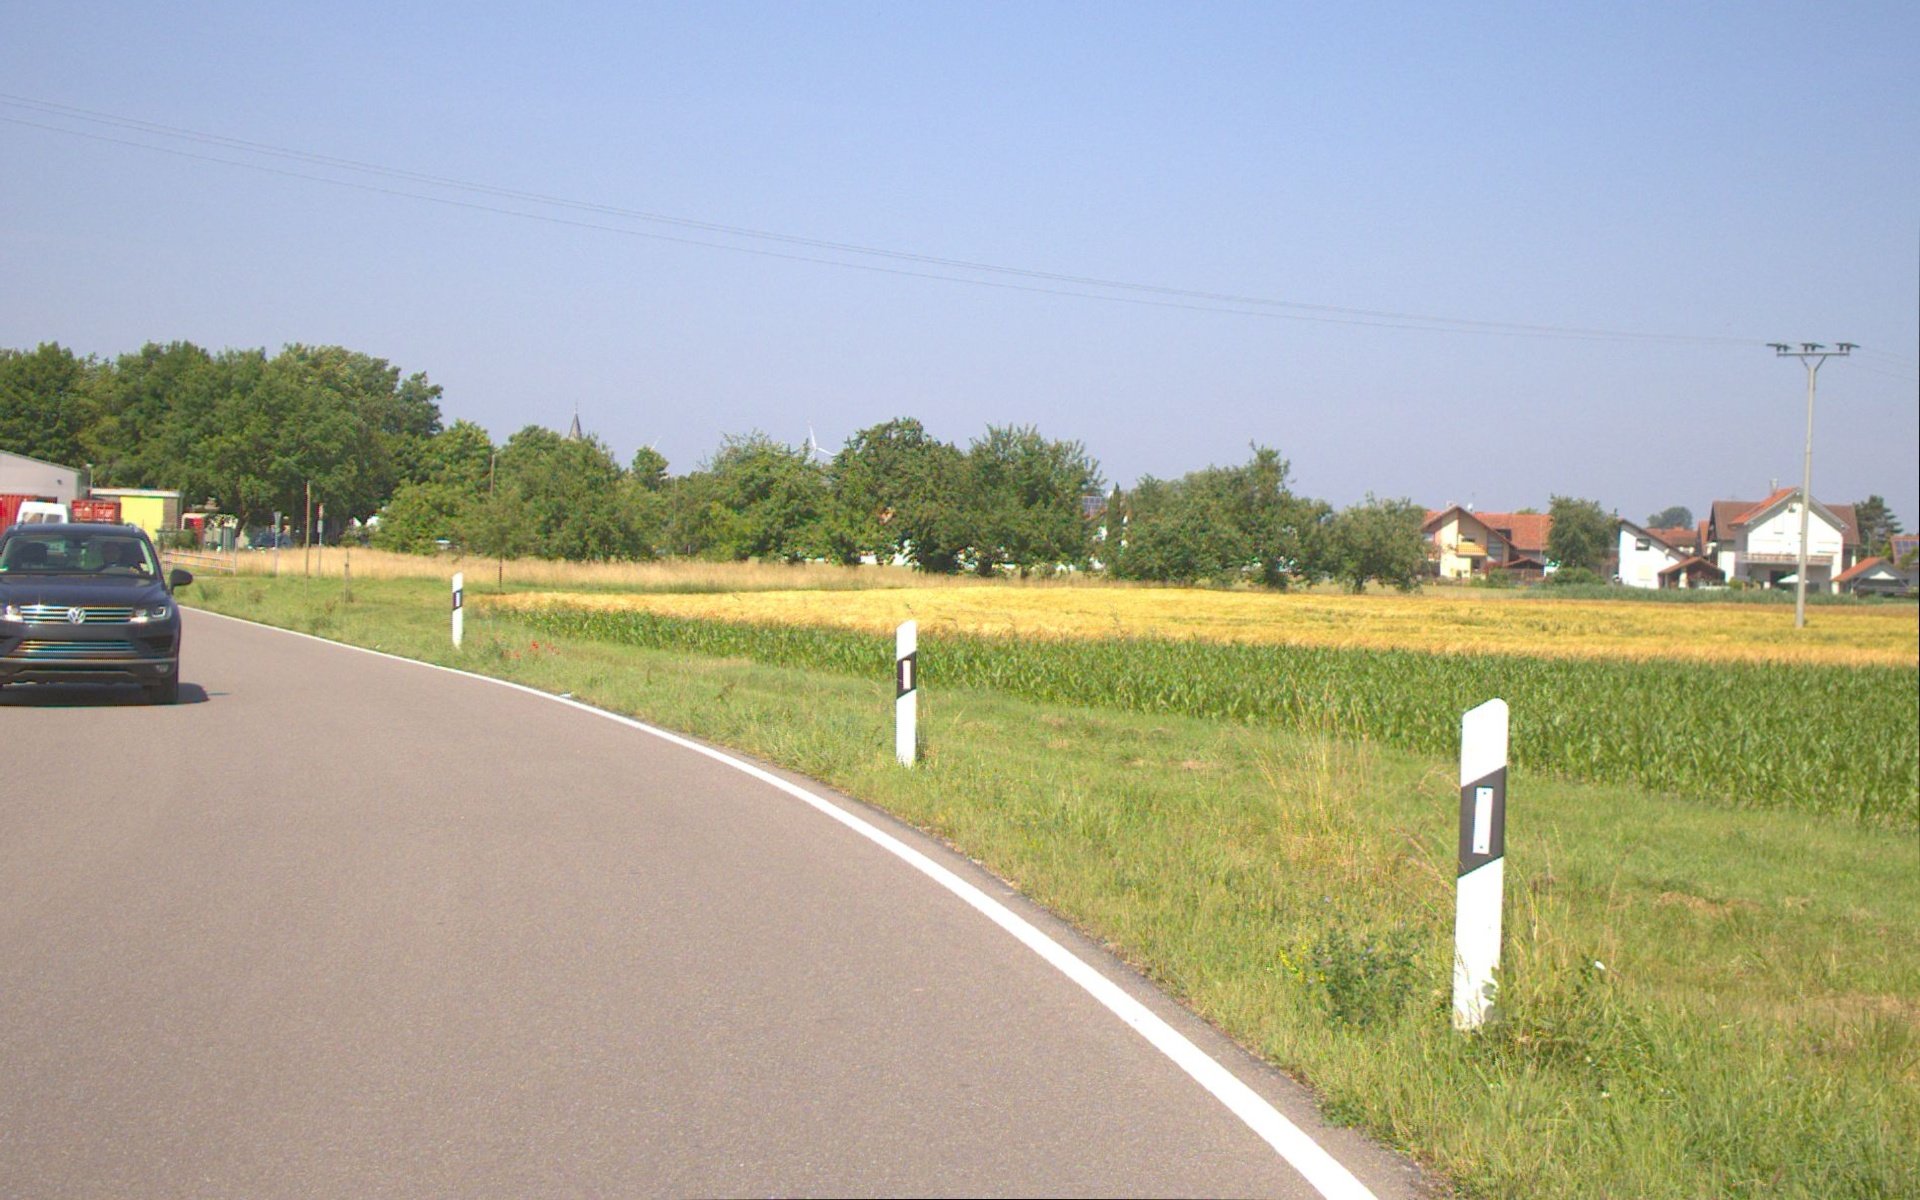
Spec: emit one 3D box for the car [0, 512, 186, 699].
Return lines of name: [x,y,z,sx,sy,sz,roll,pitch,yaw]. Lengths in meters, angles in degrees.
car: [-8.724,0.007,33.696,1.886,1.709,4.015,1,1,-17]

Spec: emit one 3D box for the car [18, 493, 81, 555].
car: [-35.112,-2.936,132.708,1.993,2.258,4.728,2,1,-11]
